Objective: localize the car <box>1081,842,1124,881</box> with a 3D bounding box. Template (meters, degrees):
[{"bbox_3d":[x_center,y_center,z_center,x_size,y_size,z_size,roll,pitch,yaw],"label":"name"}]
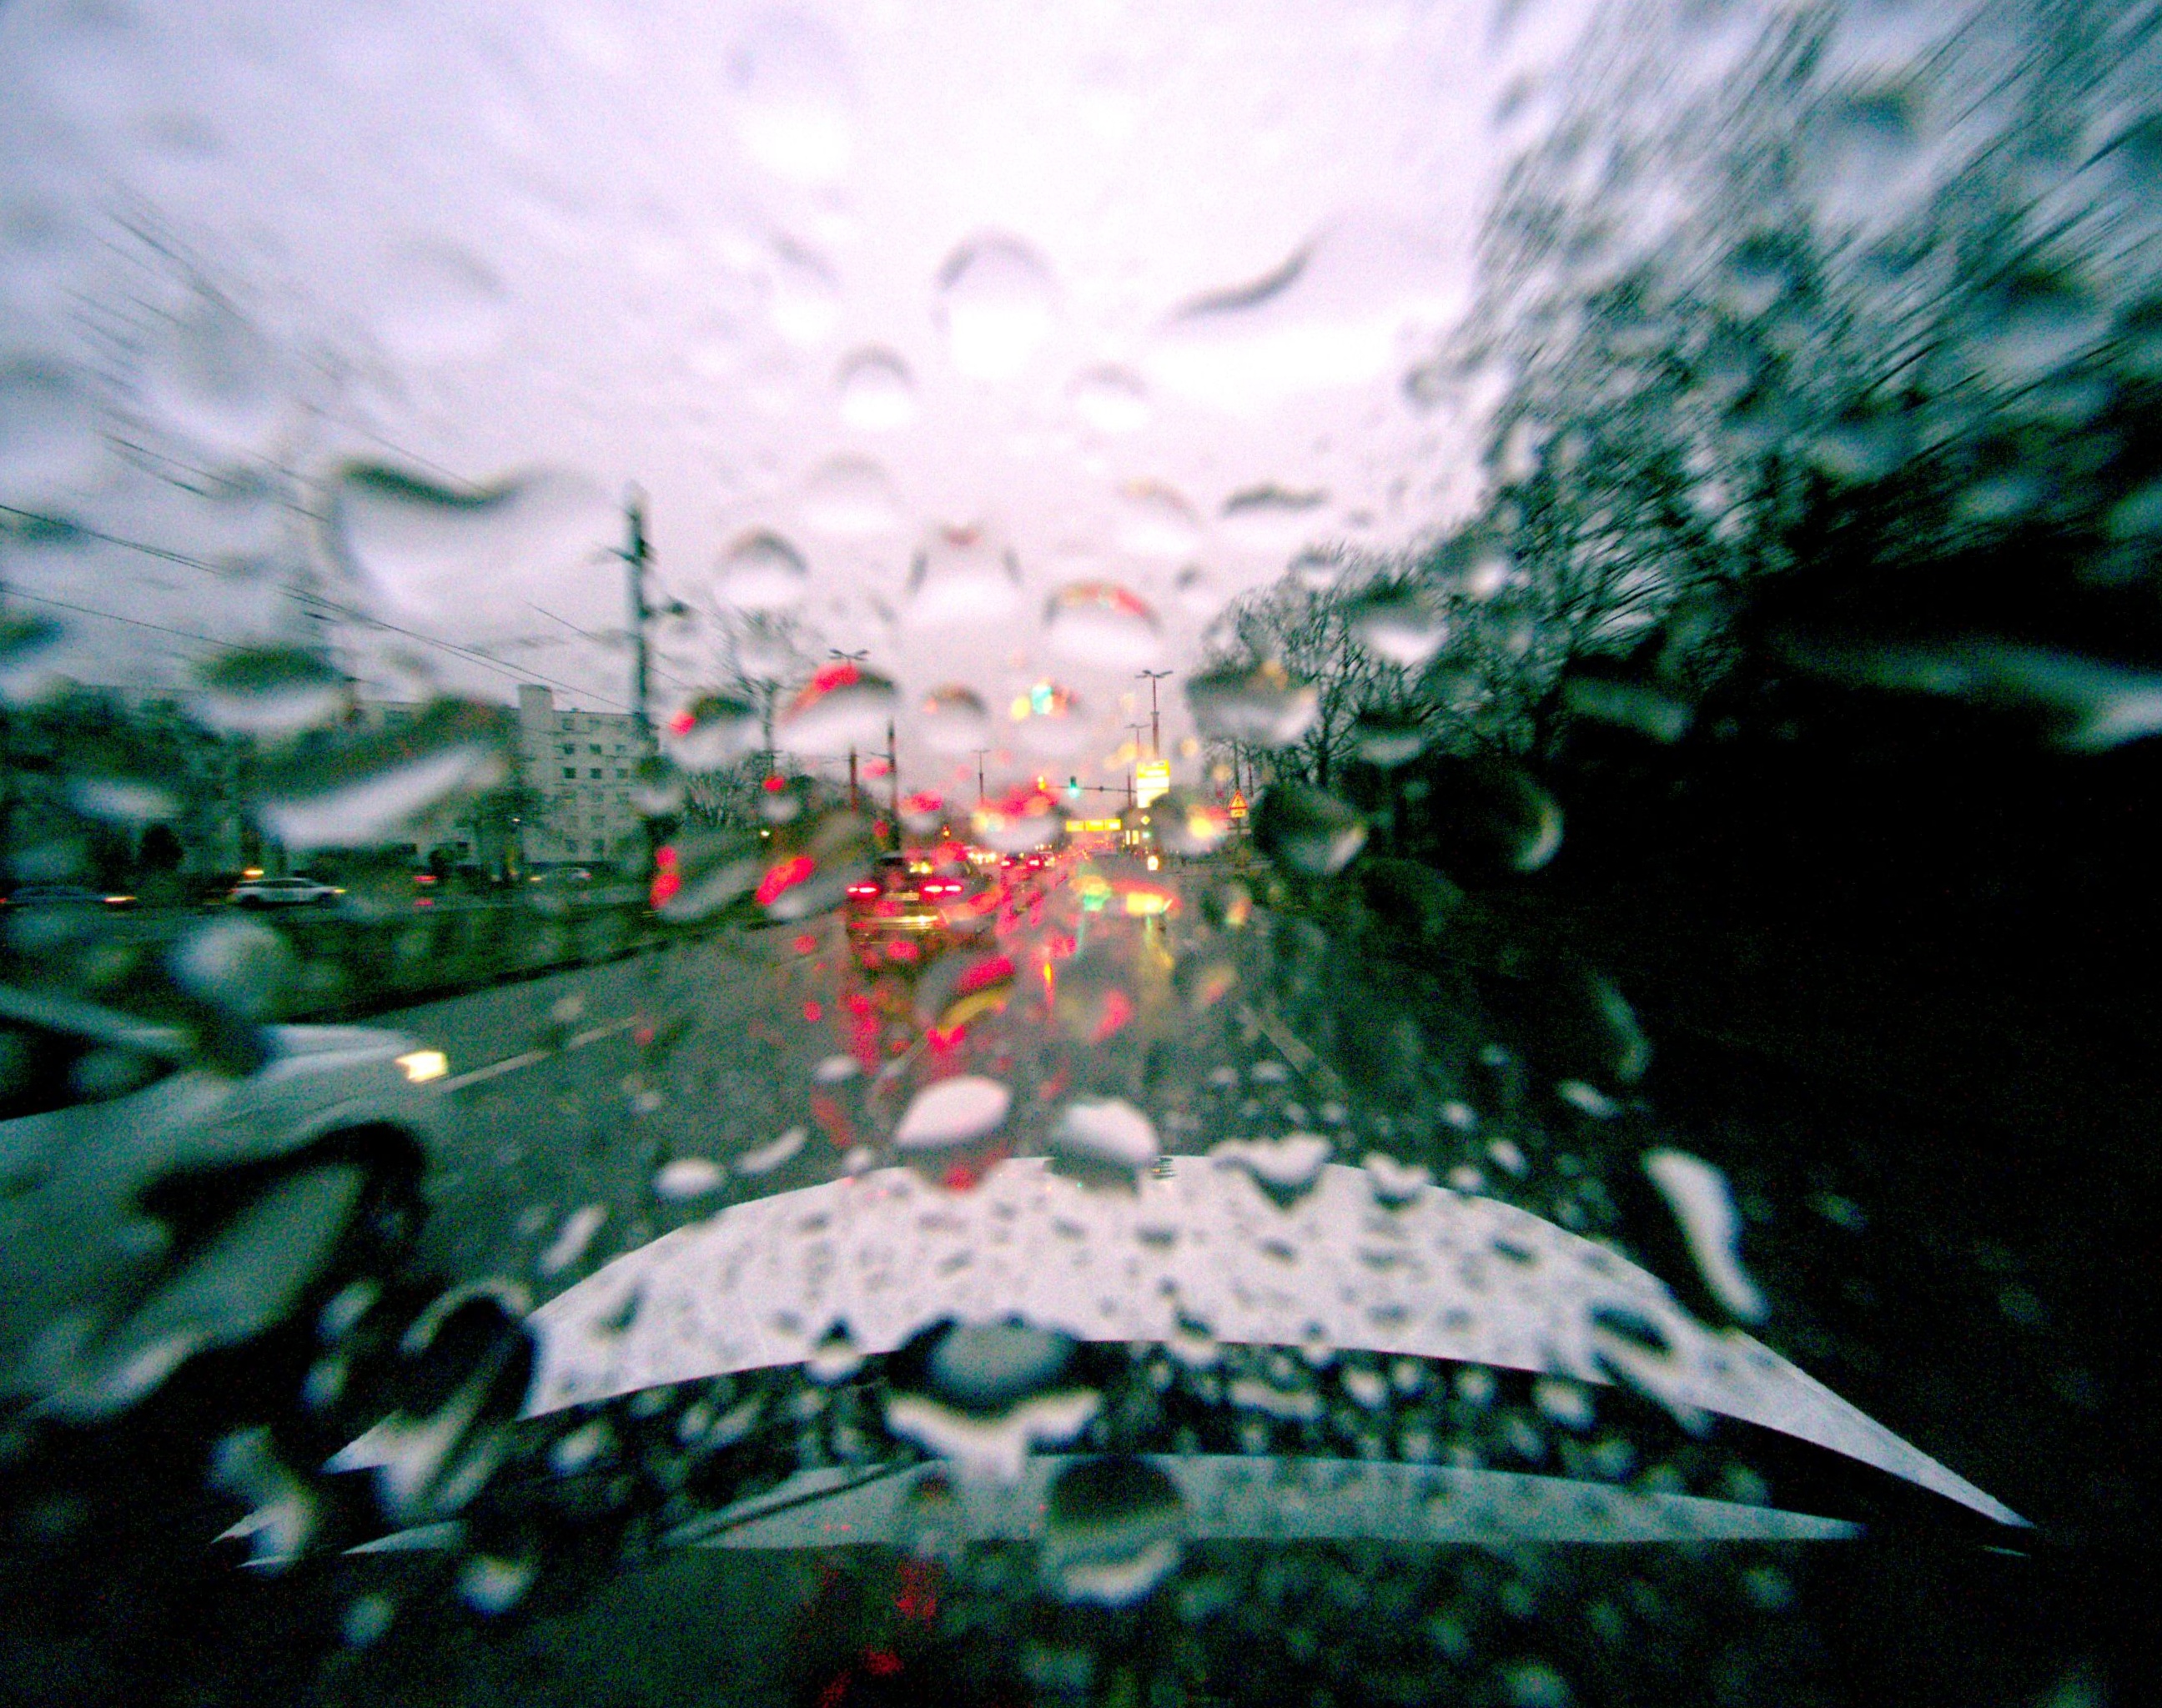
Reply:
[{"bbox_3d":[1.025,0.308,37.892,1.815,1.648,4.468,-2,0,2],"label":"car"}]

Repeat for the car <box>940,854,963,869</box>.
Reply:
[{"bbox_3d":[-14.791,0.812,93.248,1.851,1.581,4.079,-2,0,0],"label":"car"}]

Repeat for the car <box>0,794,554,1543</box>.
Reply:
[{"bbox_3d":[-3.265,0.718,1.503,1.707,1.648,4.149,-2,0,2],"label":"car"}]

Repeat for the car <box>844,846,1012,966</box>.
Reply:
[{"bbox_3d":[-2.368,0.734,13.793,1.815,1.648,4.468,-2,0,2],"label":"car"}]

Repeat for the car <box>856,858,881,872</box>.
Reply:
[{"bbox_3d":[-24.087,1.216,92.391,1.613,1.495,4.018,-2,0,1],"label":"car"}]

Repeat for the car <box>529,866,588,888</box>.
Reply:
[{"bbox_3d":[-44.967,1.985,70.119,4.021,1.640,1.519,-2,0,-40],"label":"car"}]

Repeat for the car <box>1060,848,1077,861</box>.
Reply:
[{"bbox_3d":[-1.572,0.038,100.480,1.815,1.504,4.002,-2,0,2],"label":"car"}]

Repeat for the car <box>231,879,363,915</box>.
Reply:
[{"bbox_3d":[-40.007,2.159,41.716,4.449,1.544,1.836,-2,0,-26],"label":"car"}]

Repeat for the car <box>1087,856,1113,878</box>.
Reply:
[{"bbox_3d":[1.510,1.025,65.338,1.986,1.662,4.001,-1,0,1],"label":"car"}]

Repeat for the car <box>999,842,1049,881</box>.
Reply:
[{"bbox_3d":[-2.540,0.321,37.282,1.815,1.648,4.002,-2,0,2],"label":"car"}]

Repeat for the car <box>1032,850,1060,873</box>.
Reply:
[{"bbox_3d":[-2.715,0.561,63.294,1.815,1.648,4.002,-2,0,2],"label":"car"}]

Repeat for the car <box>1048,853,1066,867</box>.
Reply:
[{"bbox_3d":[-2.352,0.563,80.433,1.500,1.339,4.002,-2,0,2],"label":"car"}]
